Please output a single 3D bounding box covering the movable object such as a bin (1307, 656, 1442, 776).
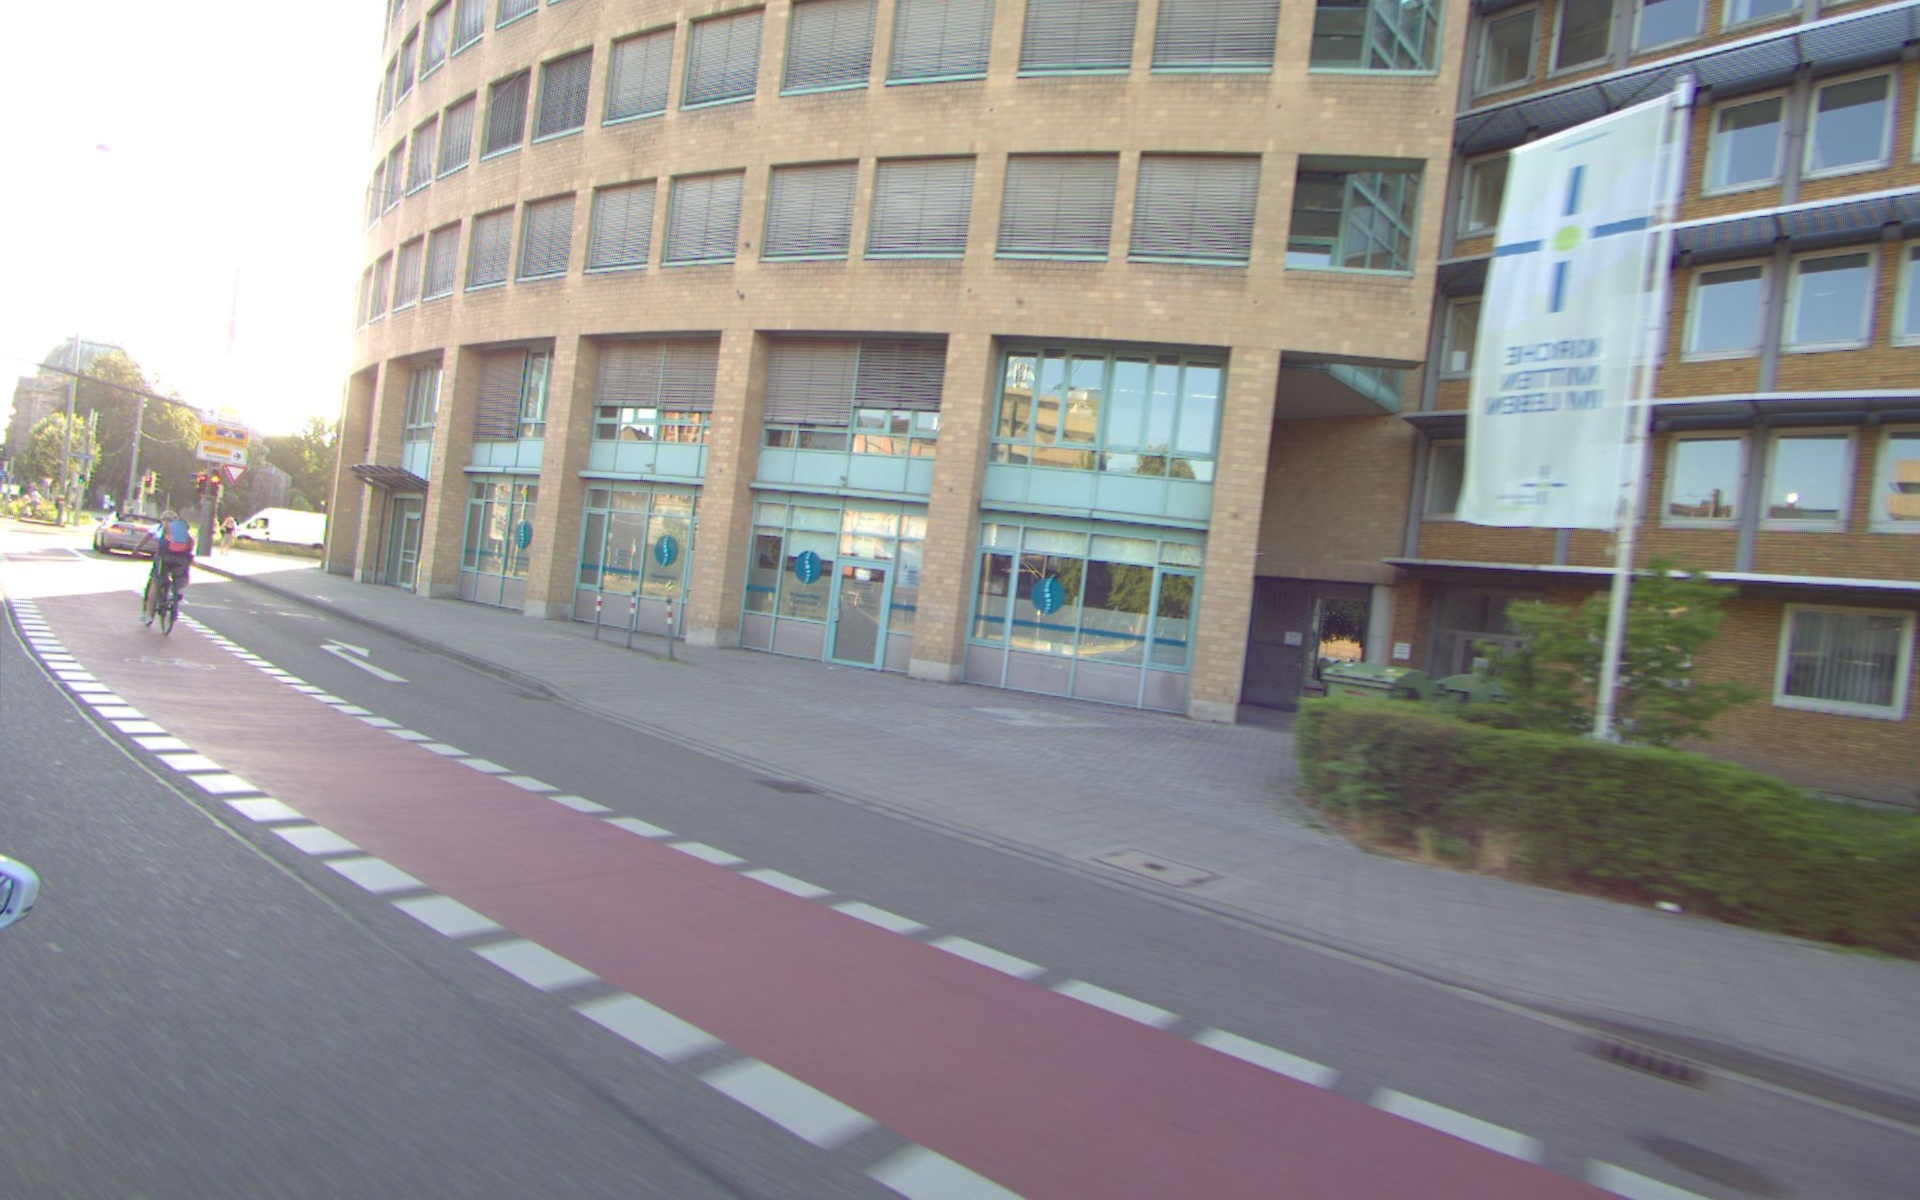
[{"bbox_3d":[5.949,1.648,14.495,0.962,1.456,1.336,7,1,-26],"label":"movable object such as a bin"}]

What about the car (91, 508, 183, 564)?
[{"bbox_3d":[-27.158,-2.138,33.134,4.210,1.370,1.781,8,-1,44],"label":"car"}]

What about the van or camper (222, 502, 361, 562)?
[{"bbox_3d":[-43.048,-4.341,64.939,7.021,2.707,2.566,8,1,-43],"label":"van or camper"}]

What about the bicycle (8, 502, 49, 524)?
[{"bbox_3d":[-55.475,-5.172,59.924,0.601,0.981,1.725,9,0,45],"label":"bicycle"}]

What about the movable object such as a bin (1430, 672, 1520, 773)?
[{"bbox_3d":[8.358,1.962,16.293,0.910,1.442,1.340,9,1,37],"label":"movable object such as a bin"}]

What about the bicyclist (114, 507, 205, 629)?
[{"bbox_3d":[-10.800,-0.434,13.566,1.024,1.500,0.654,7,-2,43],"label":"bicyclist"}]

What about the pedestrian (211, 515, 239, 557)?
[{"bbox_3d":[-30.575,-2.664,41.824,0.789,1.589,0.675,9,2,43],"label":"pedestrian"}]

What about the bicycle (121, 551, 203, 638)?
[{"bbox_3d":[-10.831,-0.088,13.634,1.751,0.965,0.514,8,-1,43],"label":"bicycle"}]

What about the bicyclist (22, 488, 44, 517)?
[{"bbox_3d":[-55.297,-5.809,59.998,0.654,1.591,0.795,9,2,45],"label":"bicyclist"}]
